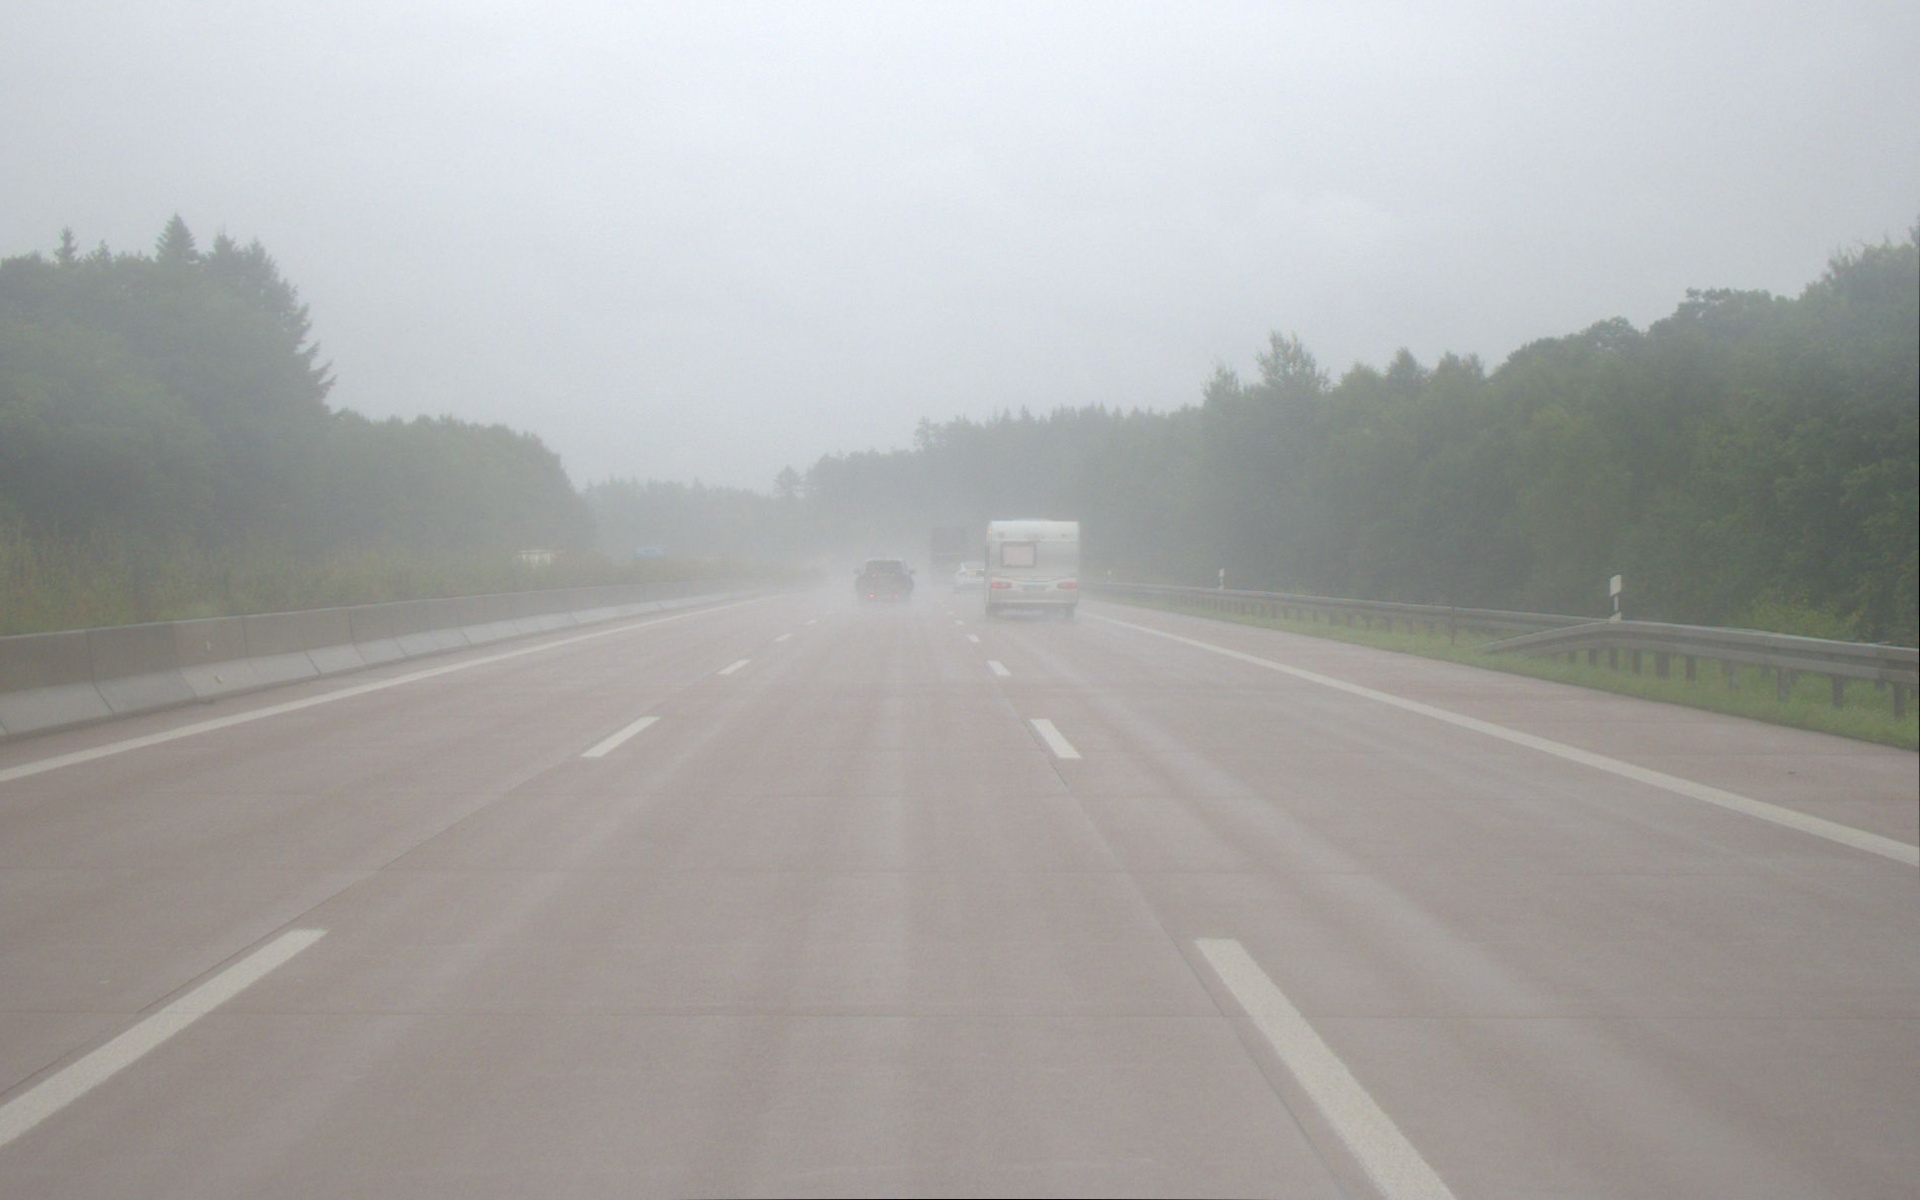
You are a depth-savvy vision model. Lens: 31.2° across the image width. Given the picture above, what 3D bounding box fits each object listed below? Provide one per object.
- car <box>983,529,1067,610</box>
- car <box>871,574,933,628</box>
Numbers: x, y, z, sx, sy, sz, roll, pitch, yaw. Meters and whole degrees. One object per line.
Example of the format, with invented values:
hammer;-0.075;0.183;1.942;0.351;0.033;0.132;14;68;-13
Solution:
car;1.617;-0.797;87.290;2.058;1.993;4.098;1;1;0
car;-1.893;0.011;114.007;1.937;1.723;4.130;1;1;0
